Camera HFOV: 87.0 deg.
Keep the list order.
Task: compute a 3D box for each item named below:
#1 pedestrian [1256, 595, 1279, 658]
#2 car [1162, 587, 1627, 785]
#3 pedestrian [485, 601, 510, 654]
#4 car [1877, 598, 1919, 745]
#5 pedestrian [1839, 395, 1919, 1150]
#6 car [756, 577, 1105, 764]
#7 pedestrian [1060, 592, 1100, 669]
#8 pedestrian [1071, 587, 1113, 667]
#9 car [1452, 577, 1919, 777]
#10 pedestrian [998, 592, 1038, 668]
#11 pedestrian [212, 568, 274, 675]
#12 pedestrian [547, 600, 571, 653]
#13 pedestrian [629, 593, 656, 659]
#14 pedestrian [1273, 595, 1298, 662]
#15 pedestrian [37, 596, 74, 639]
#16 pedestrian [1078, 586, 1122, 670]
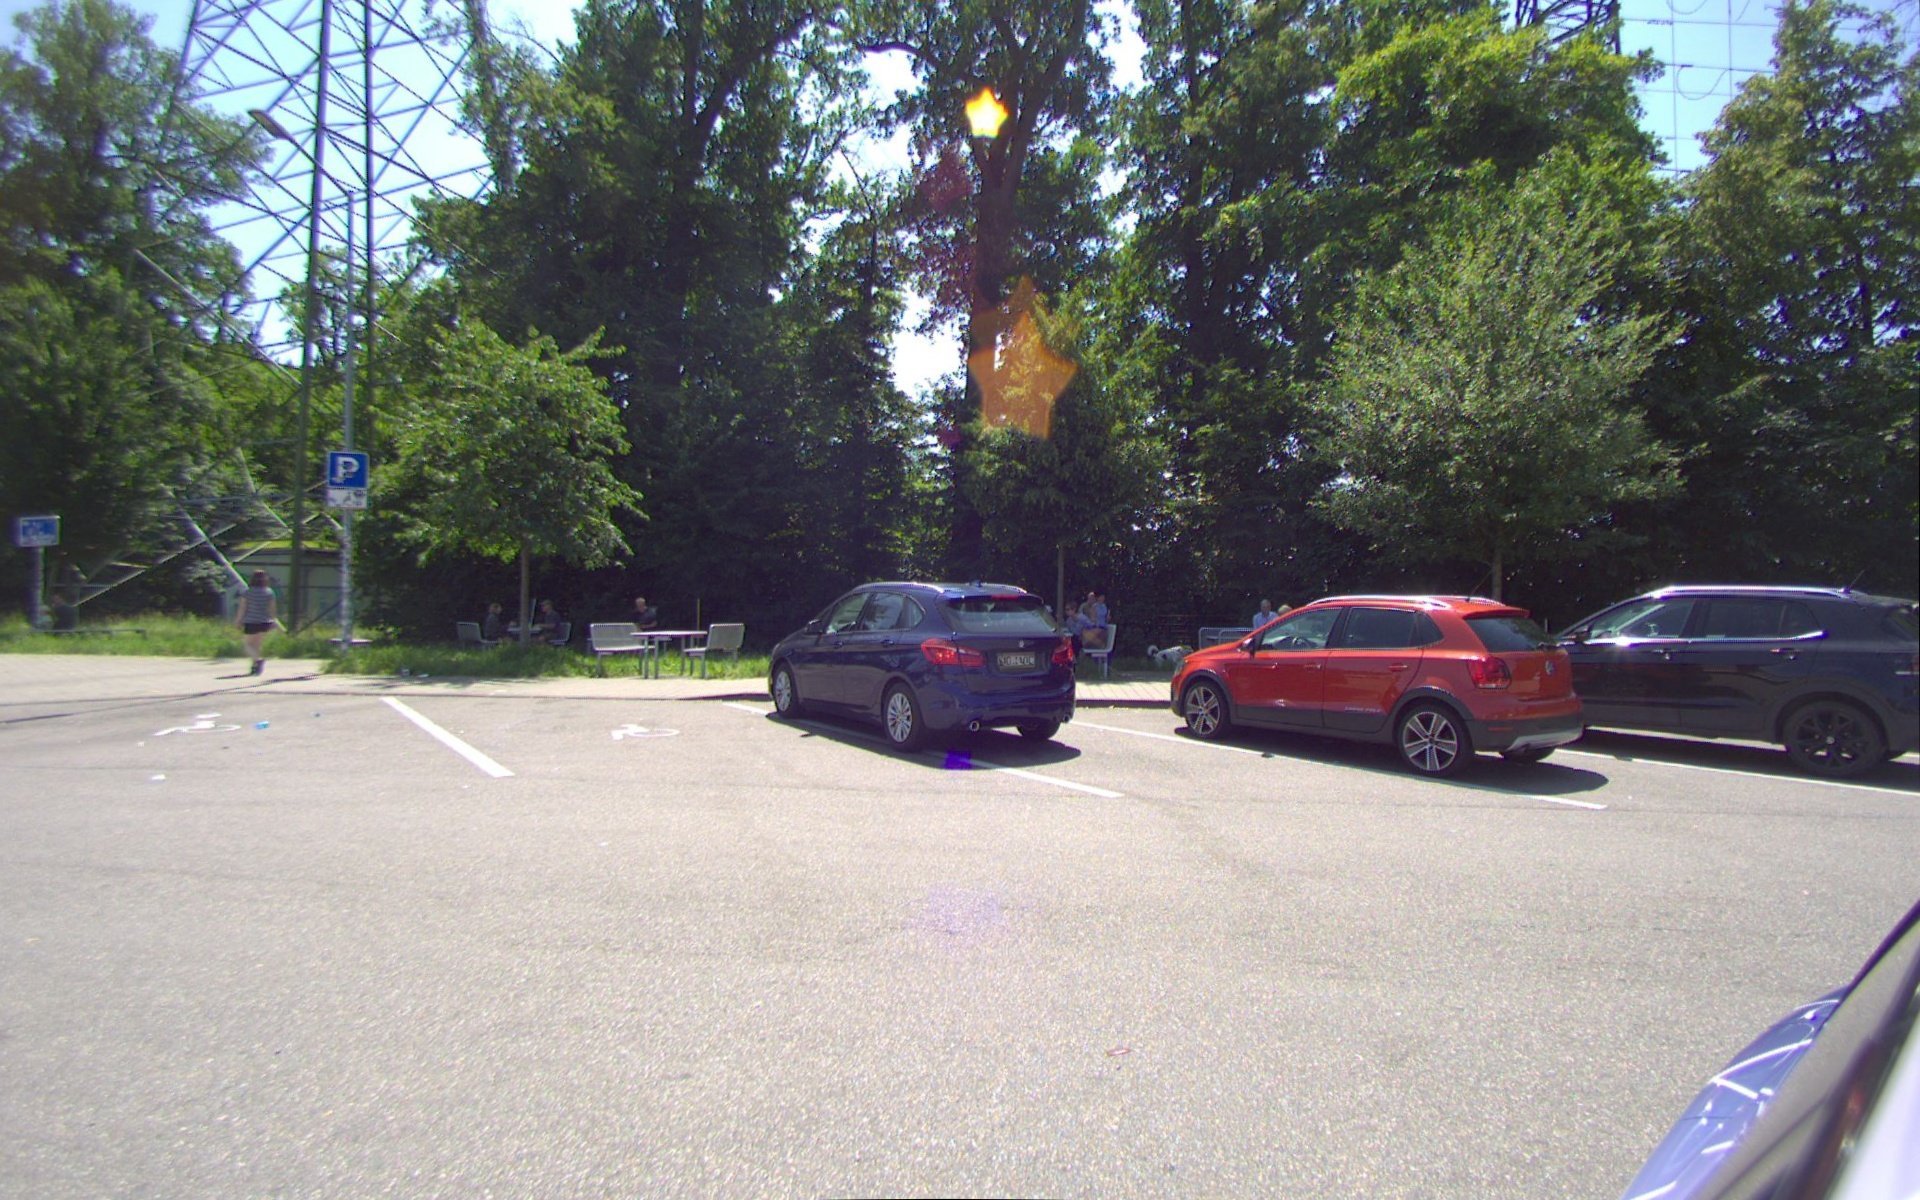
[{"bbox_3d":[5.813,0.491,19.125,0.350,1.180,0.384,0,0,8],"label":"pedestrian"},{"bbox_3d":[3.874,0.633,9.647,1.619,1.487,3.830,0,0,-33],"label":"car"},{"bbox_3d":[-10.440,0.612,22.856,0.452,1.182,0.447,0,0,-34],"label":"pedestrian"},{"bbox_3d":[10.891,0.702,9.010,1.620,1.420,3.826,0,0,-37],"label":"car"},{"bbox_3d":[2.890,0.453,2.408,0.800,1.974,0.919,0,0,5],"label":"pedestrian"},{"bbox_3d":[-0.547,0.549,10.787,1.714,1.572,4.347,0,1,-33],"label":"car"},{"bbox_3d":[1.996,0.492,16.855,0.586,1.261,0.498,0,0,16],"label":"pedestrian"},{"bbox_3d":[2.726,0.537,20.893,0.634,1.625,0.573,0,0,-29],"label":"pedestrian"},{"bbox_3d":[7.090,0.591,9.864,1.620,1.575,3.826,0,0,-37],"label":"car"},{"bbox_3d":[0.983,0.495,17.111,0.586,1.261,0.445,0,0,16],"label":"pedestrian"},{"bbox_3d":[-11.463,0.327,16.195,0.673,1.670,0.716,0,0,-24],"label":"pedestrian"},{"bbox_3d":[-9.352,0.613,23.597,0.452,1.209,0.447,0,0,-34],"label":"pedestrian"},{"bbox_3d":[-6.693,0.544,21.344,0.438,1.363,0.462,0,0,-5],"label":"pedestrian"},{"bbox_3d":[5.764,0.503,17.949,0.350,1.180,0.384,0,0,8],"label":"pedestrian"},{"bbox_3d":[-20.958,0.394,23.455,0.452,0.987,0.447,0,0,-2],"label":"pedestrian"},{"bbox_3d":[2.789,0.544,20.179,0.634,1.625,0.573,0,0,-29],"label":"pedestrian"}]
